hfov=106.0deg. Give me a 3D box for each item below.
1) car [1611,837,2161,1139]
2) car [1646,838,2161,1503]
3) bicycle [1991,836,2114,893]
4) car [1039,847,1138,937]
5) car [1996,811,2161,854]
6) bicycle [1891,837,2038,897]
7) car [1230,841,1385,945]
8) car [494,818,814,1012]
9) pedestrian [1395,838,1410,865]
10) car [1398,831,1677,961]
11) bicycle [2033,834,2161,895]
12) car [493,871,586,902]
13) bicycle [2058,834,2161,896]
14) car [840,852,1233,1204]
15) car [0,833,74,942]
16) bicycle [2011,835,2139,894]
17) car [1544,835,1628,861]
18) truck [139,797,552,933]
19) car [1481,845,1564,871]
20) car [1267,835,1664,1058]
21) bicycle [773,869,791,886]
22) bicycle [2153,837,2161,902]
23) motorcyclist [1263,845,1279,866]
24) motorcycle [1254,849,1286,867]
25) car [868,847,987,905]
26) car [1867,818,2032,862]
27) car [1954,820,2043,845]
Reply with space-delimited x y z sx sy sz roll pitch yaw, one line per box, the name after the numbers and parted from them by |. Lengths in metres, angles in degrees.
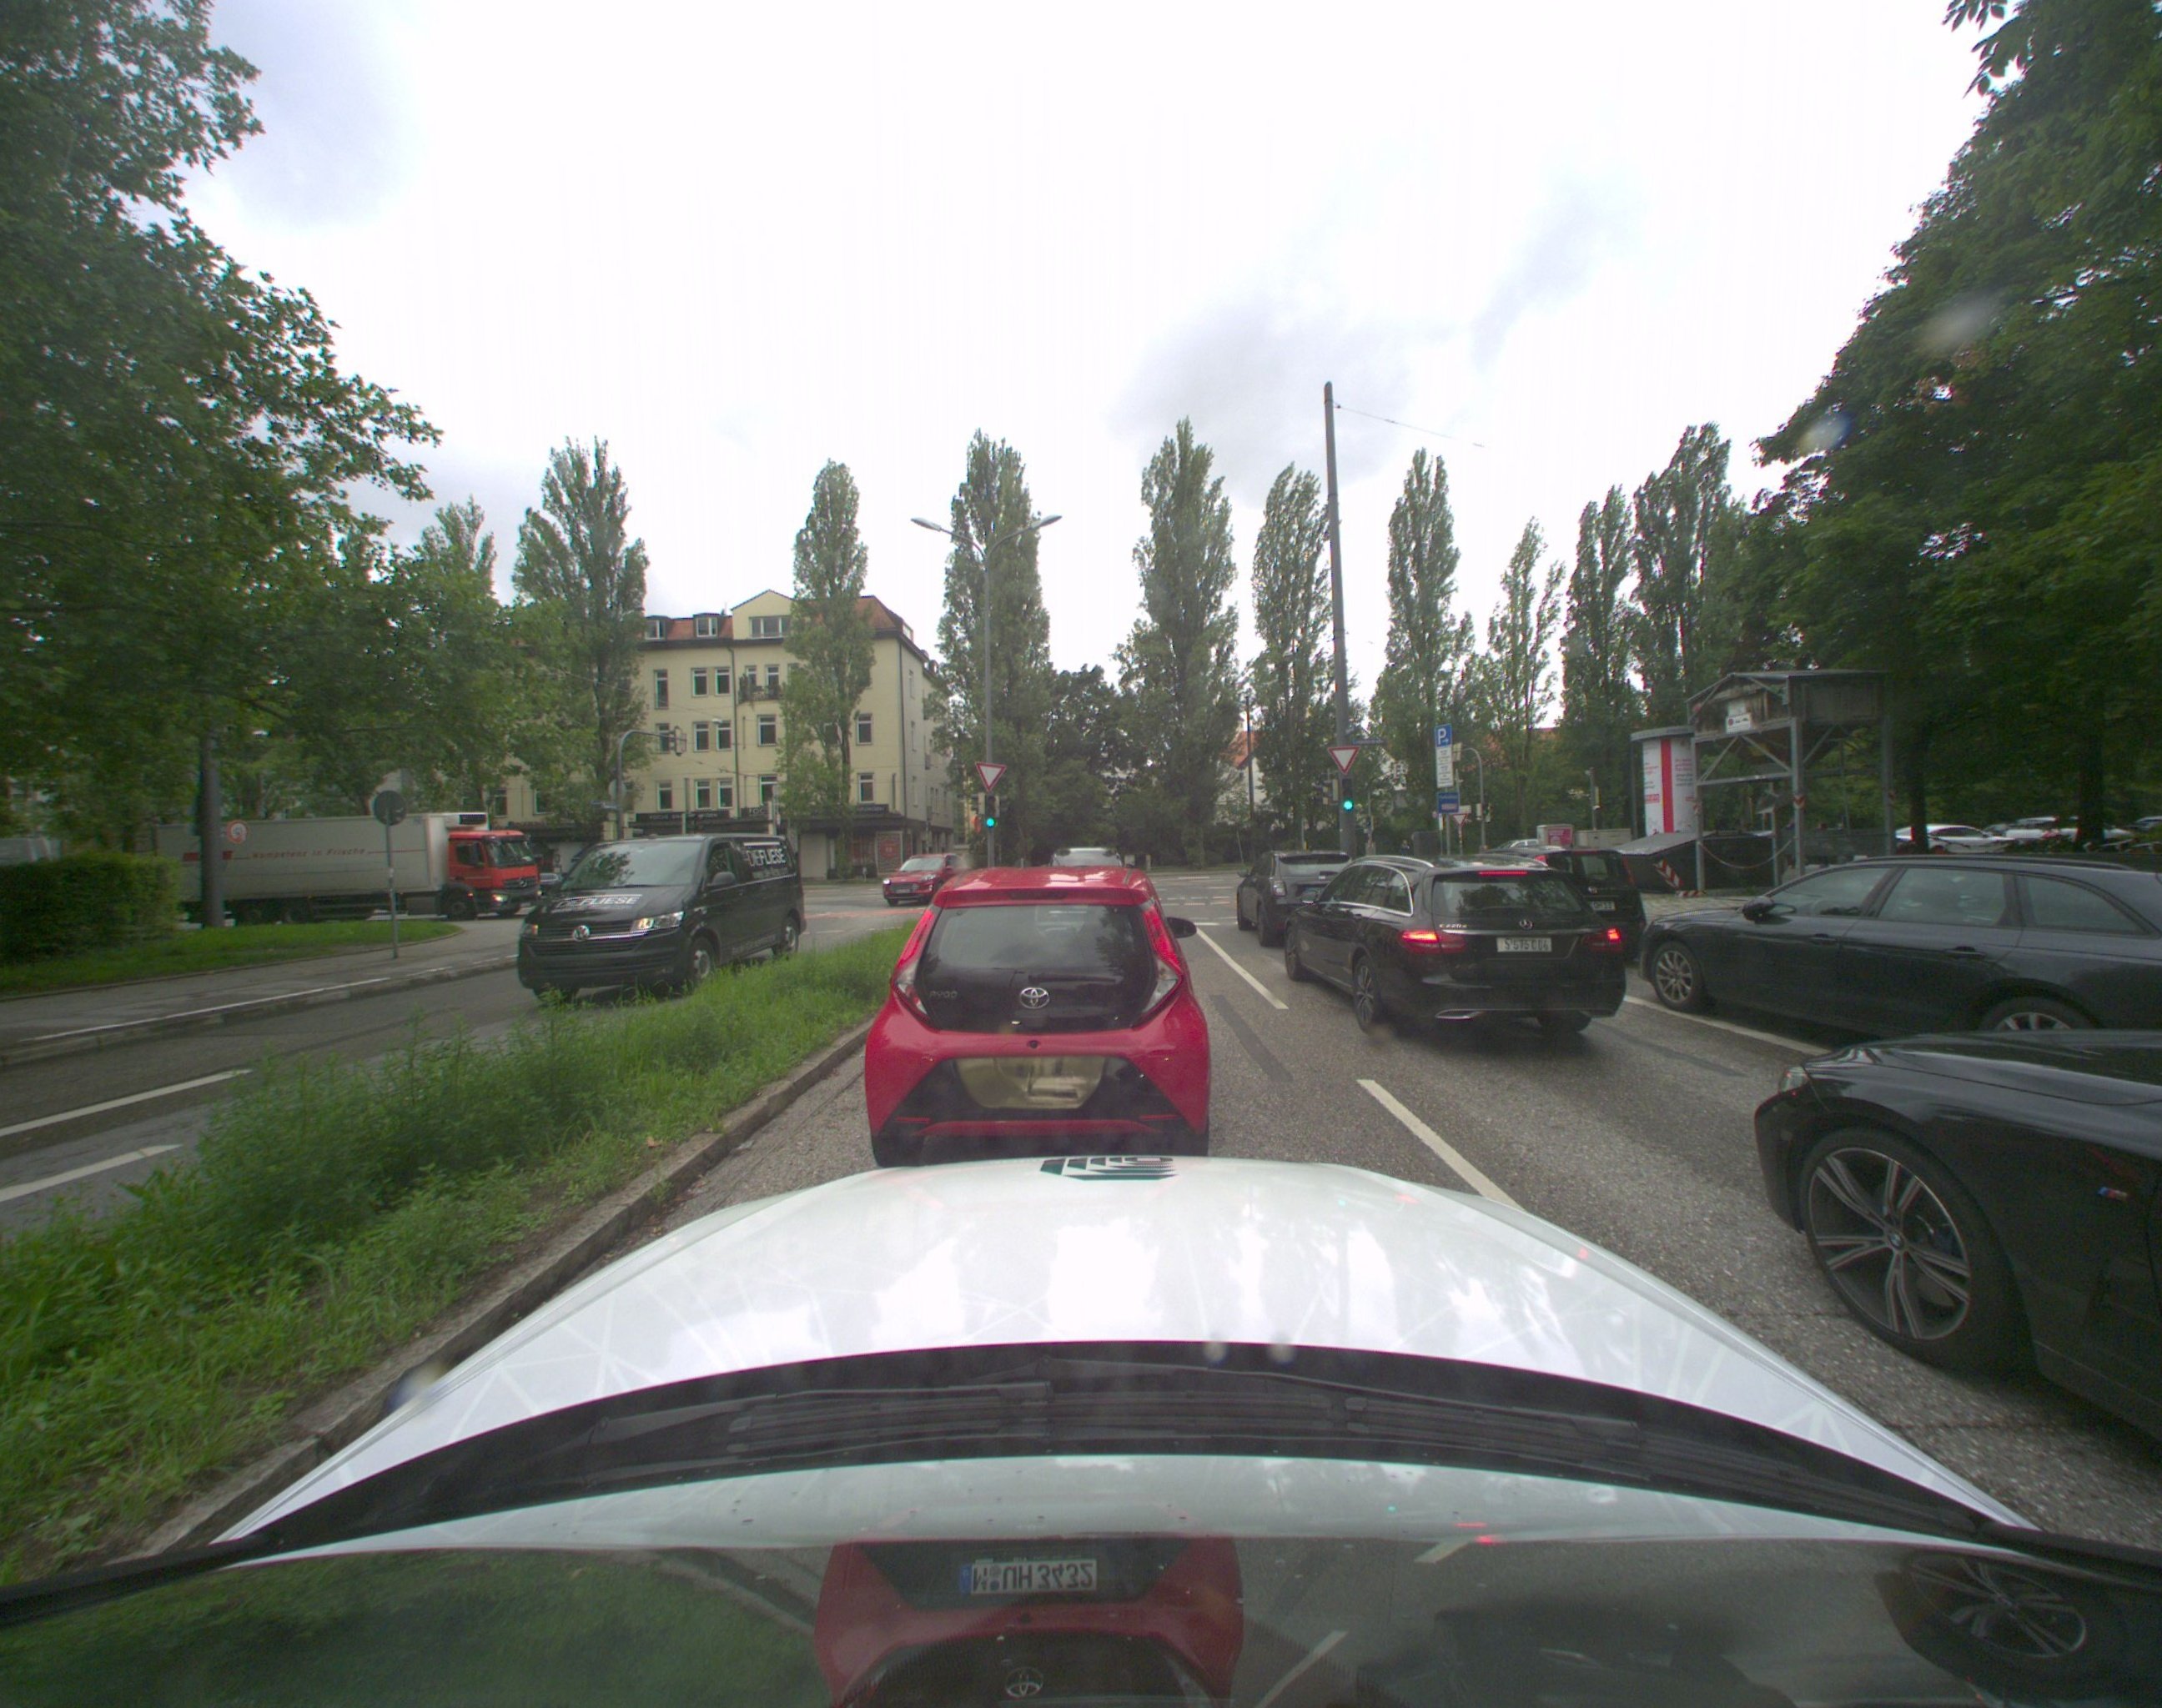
6.221 0.648 5.867 1.762 1.461 4.641 -2 0 0 | car
3.135 0.675 0.951 1.717 1.389 4.801 -2 0 2 | car
15.372 0.169 12.903 1.400 0.894 0.314 -1 -1 8 | bicycle
0.255 0.677 16.980 1.728 1.549 4.580 -2 0 3 | car
37.122 -0.789 30.326 4.351 1.407 1.729 -2 0 -4 | car
15.483 0.220 14.277 2.232 1.016 0.628 0 -1 -10 | bicycle
3.748 0.592 14.185 1.773 1.486 4.004 -2 0 4 | car
-5.312 0.642 11.015 1.852 1.990 4.702 -2 0 -1 | car
20.106 -0.170 50.947 0.693 1.662 0.555 -1 -1 42 | pedestrian
6.542 0.514 12.366 1.823 1.549 4.558 -2 0 3 | car
15.256 0.163 12.224 1.400 0.894 0.314 -1 -1 8 | bicycle
-32.953 1.965 49.615 4.440 1.612 1.727 -2 0 1 | car
15.227 0.159 11.871 1.400 0.894 0.314 -1 -1 8 | bicycle
-0.103 0.740 5.138 1.622 1.440 3.379 -2 0 3 | car
-22.393 0.854 14.910 1.975 2.013 4.658 -1 5 43 | car
15.317 0.166 12.561 1.400 0.894 0.314 -1 -1 8 | bicycle
32.526 -0.353 52.522 4.231 1.486 1.786 -2 0 0 | car
-25.107 0.343 28.186 11.636 3.980 2.749 -2 1 1 | truck
28.014 0.254 51.740 4.324 1.486 1.786 -2 0 0 | car
3.223 0.645 8.057 1.856 1.549 4.706 0 0 2 | car
-19.826 1.557 54.046 0.493 1.081 1.888 -2 0 -1 | bicycle
15.401 0.205 11.152 1.409 0.894 0.312 0 -1 -13 | bicycle
12.770 0.109 54.610 0.870 1.443 0.624 -1 -1 34 | motorcyclist
12.686 0.267 54.677 2.003 1.169 0.634 -1 -1 34 | motorcycle
-5.160 0.688 28.153 2.088 1.637 4.958 -3 1 14 | car
31.740 -0.514 29.831 4.351 1.407 1.729 -2 0 -4 | car
61.252 -1.415 54.400 4.117 1.486 1.784 -2 0 -3 | car
